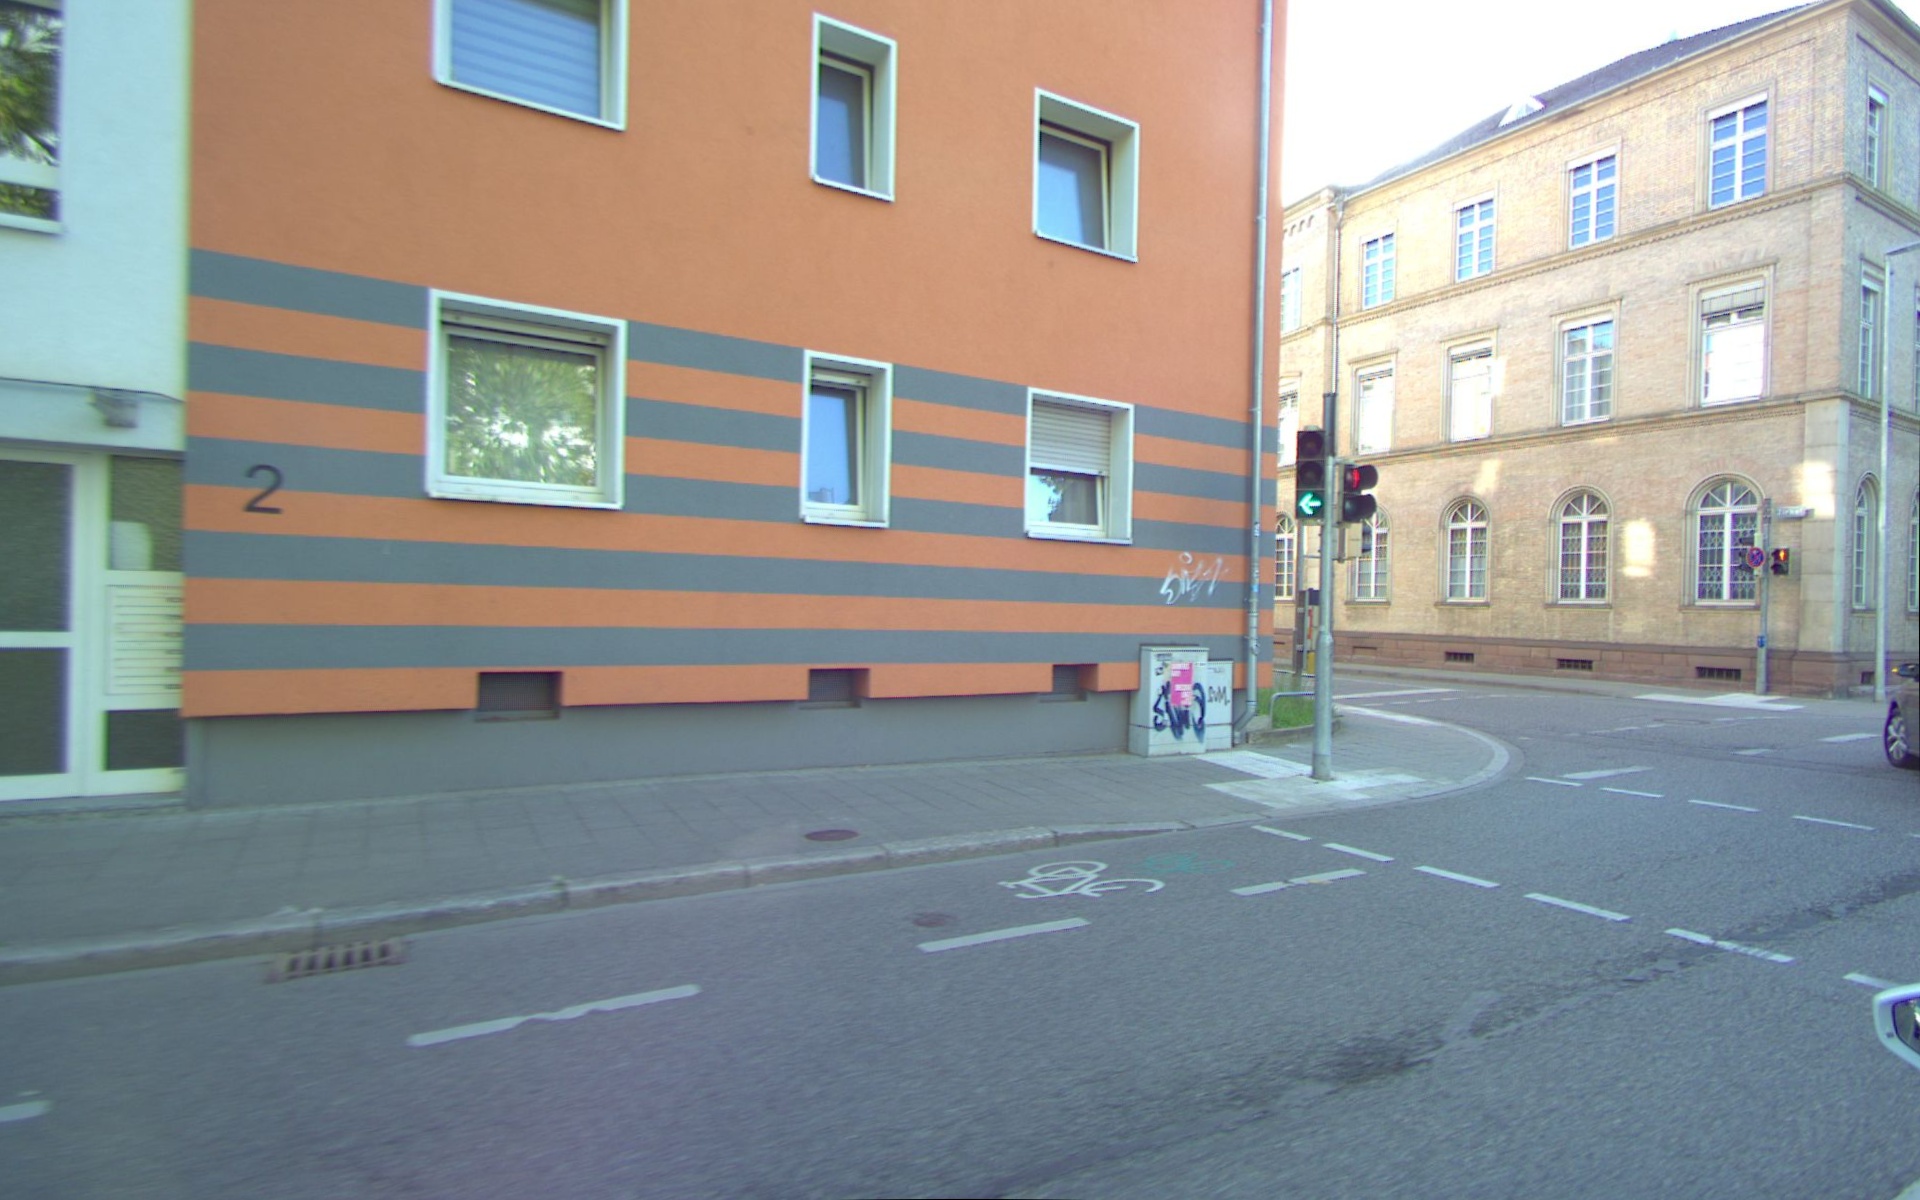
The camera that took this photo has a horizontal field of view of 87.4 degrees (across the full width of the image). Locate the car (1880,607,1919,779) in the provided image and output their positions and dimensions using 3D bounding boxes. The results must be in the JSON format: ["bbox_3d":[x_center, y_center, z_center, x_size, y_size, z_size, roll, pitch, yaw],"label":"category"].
[{"bbox_3d":[9.623,0.879,8.719,1.737,1.628,3.989,1,0,33],"label":"car"}]
